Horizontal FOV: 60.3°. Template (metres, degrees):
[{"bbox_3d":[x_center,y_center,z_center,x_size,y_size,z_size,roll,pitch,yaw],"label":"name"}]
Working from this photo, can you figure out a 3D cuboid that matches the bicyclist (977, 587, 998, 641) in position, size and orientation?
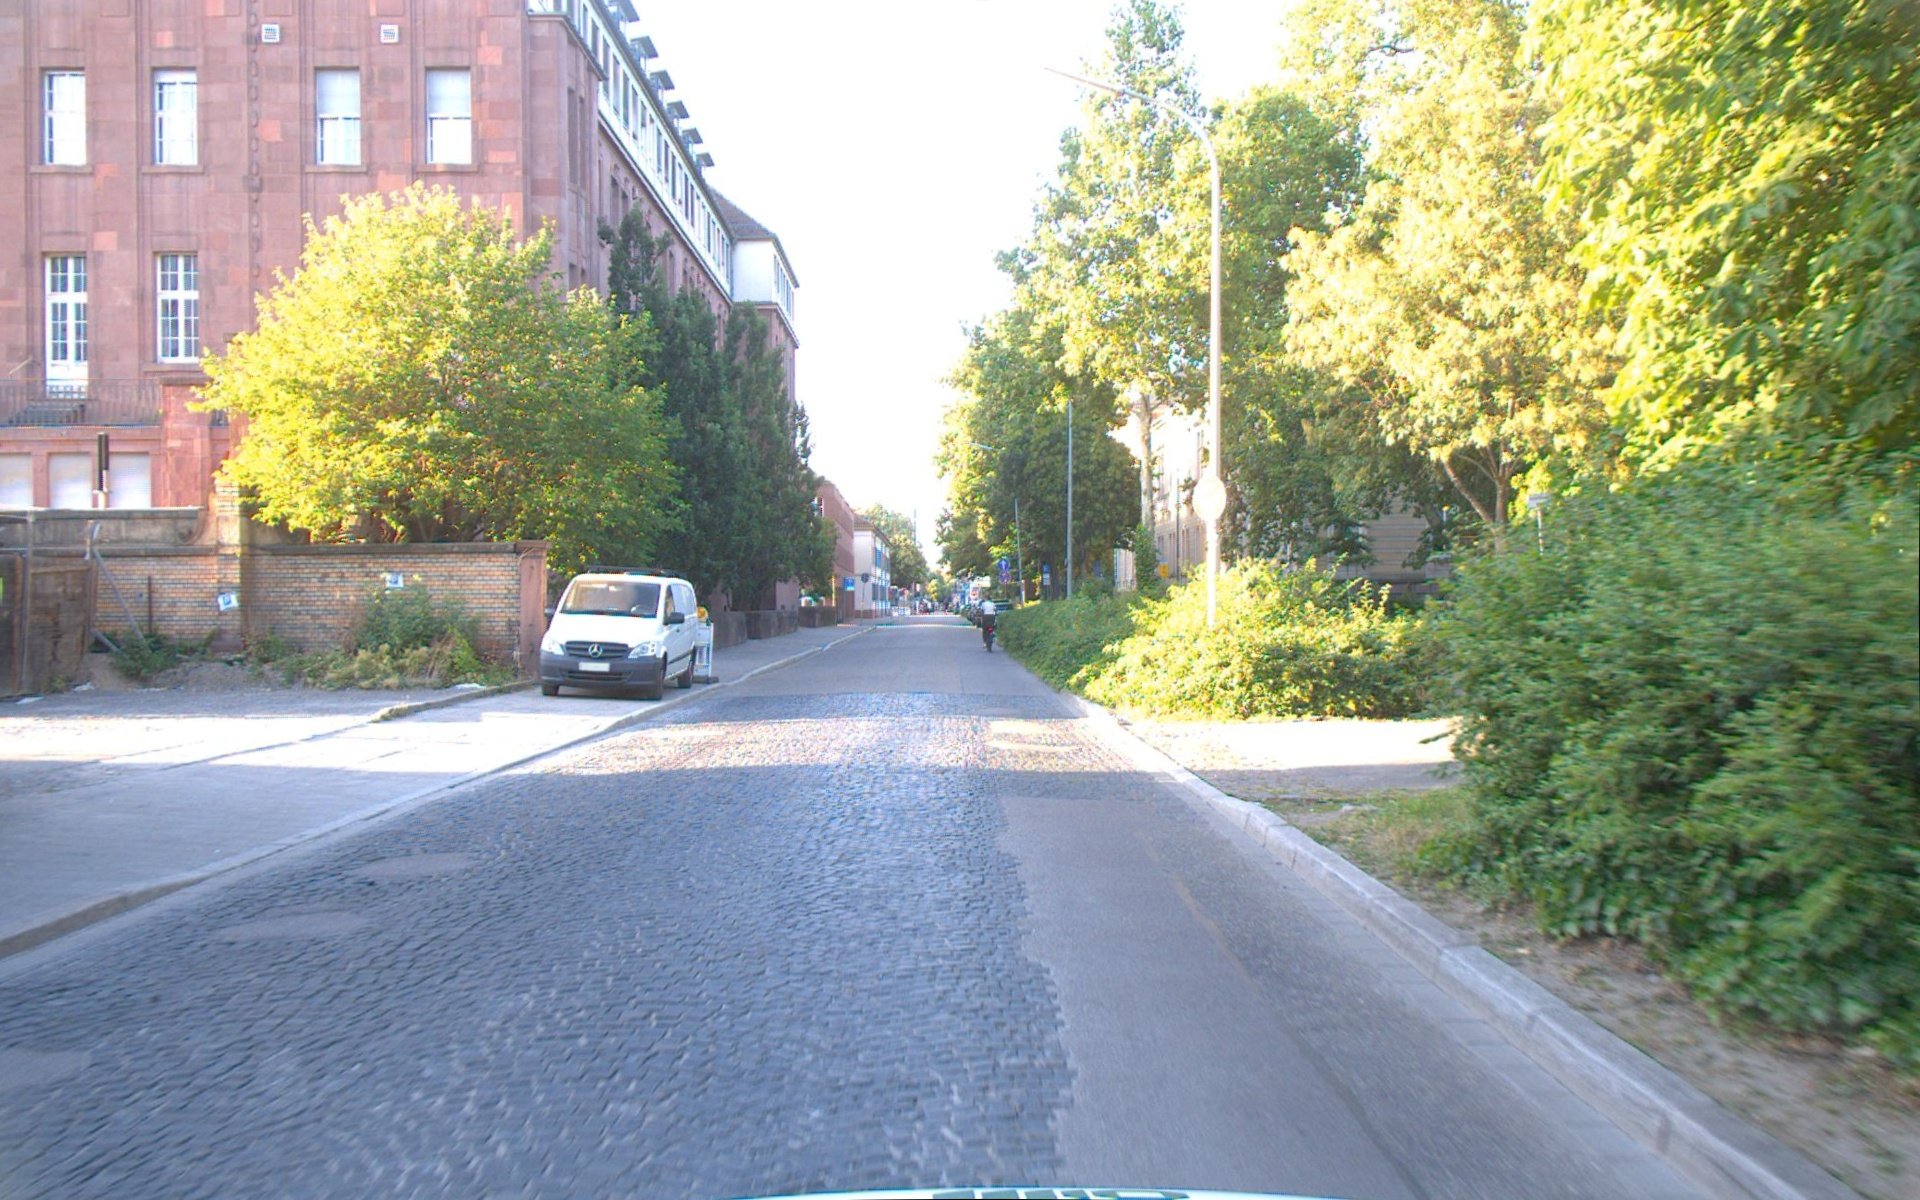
[{"bbox_3d":[0.860,0.435,51.814,0.626,1.696,0.842,0,-1,-3],"label":"bicyclist"}]

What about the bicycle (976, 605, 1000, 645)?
[{"bbox_3d":[0.862,0.776,51.802,0.625,1.214,1.875,0,0,-2],"label":"bicycle"}]

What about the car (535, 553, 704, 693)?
[{"bbox_3d":[-5.436,0.398,27.082,1.845,2.049,5.223,1,-1,-2],"label":"car"}]

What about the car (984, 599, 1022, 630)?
[{"bbox_3d":[2.214,0.785,86.449,1.652,1.472,3.669,-4,-1,-2],"label":"car"}]

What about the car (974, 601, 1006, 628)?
[{"bbox_3d":[1.796,0.869,100.204,1.681,1.564,4.046,0,0,-3],"label":"car"}]
